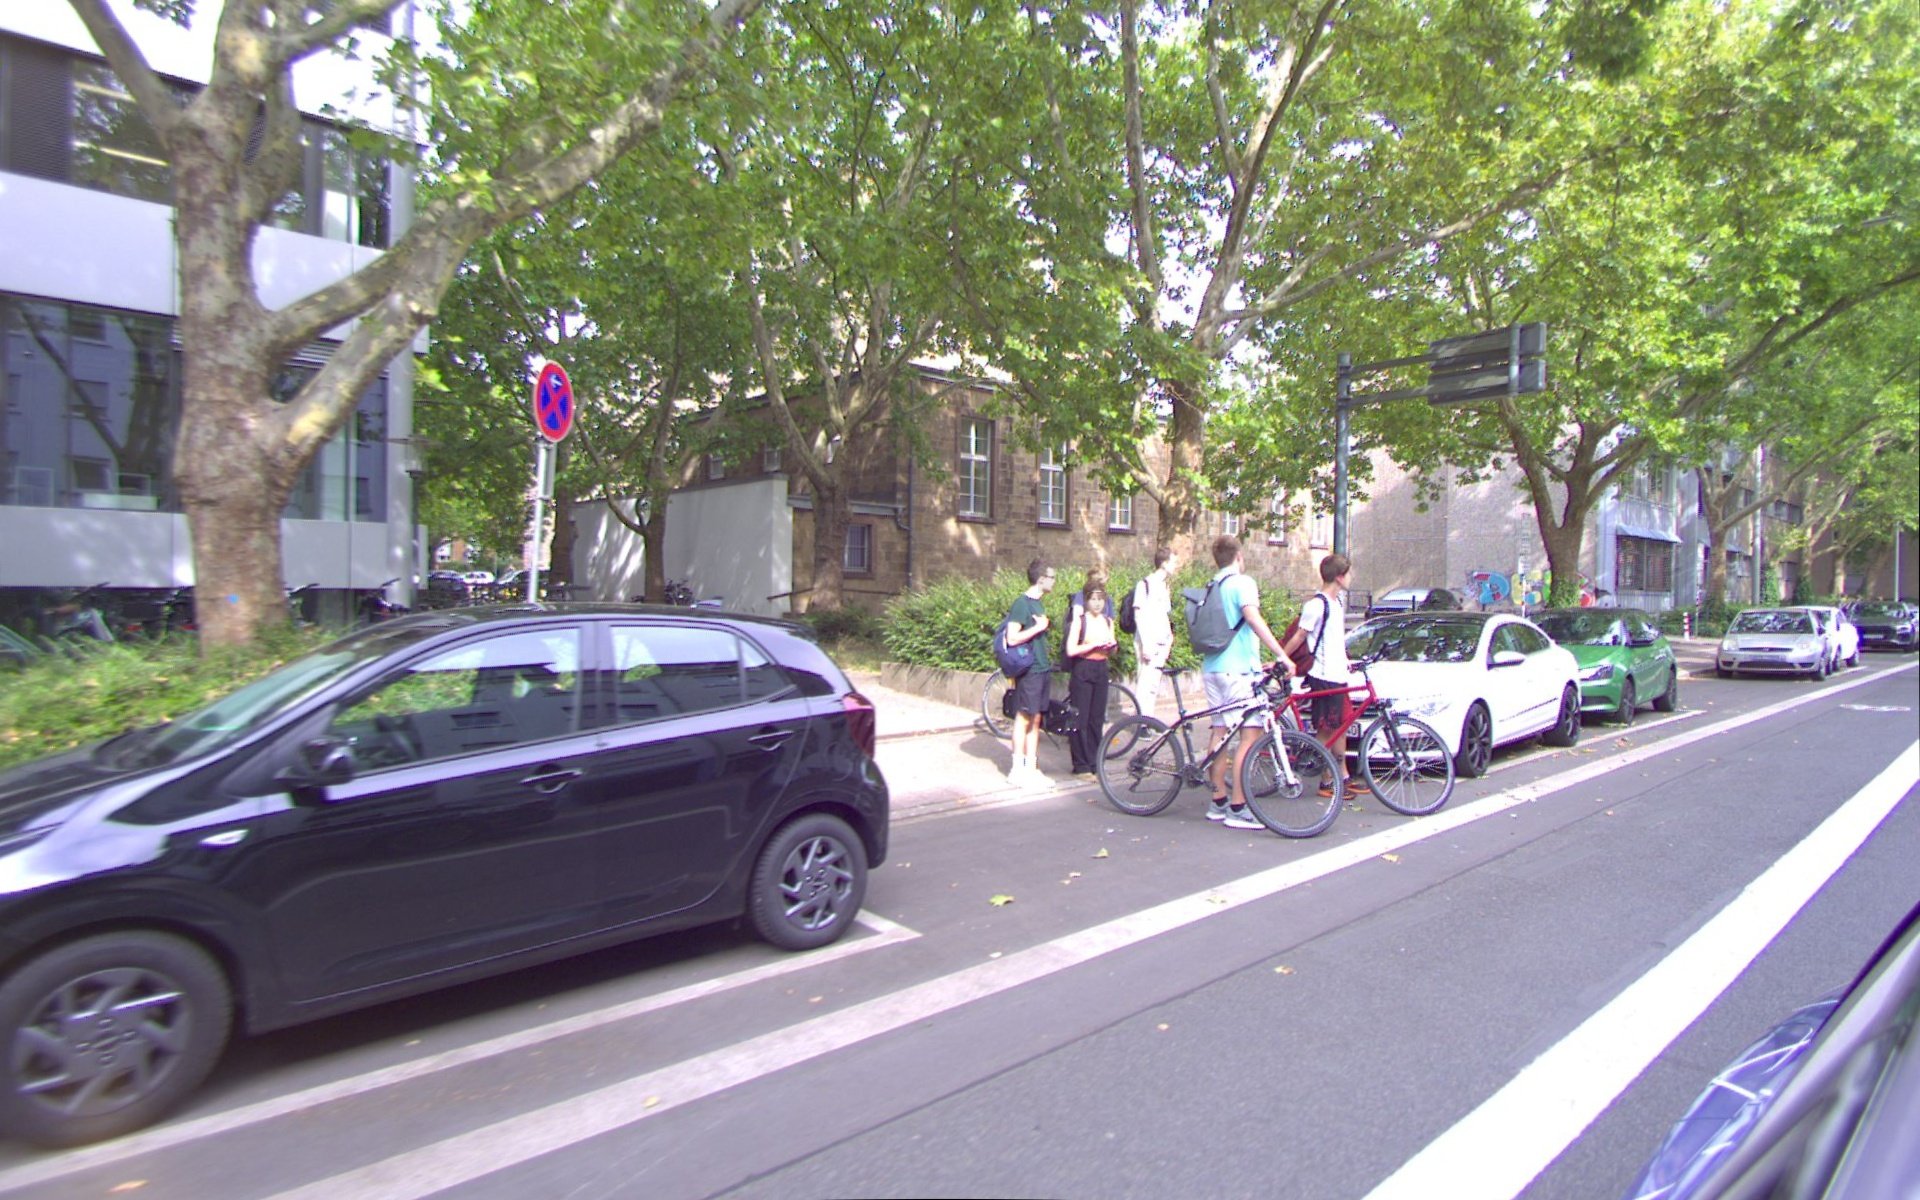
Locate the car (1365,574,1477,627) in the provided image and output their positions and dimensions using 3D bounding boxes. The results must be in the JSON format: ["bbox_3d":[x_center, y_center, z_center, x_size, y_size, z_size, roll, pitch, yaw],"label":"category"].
[{"bbox_3d":[14.364,0.028,31.412,4.224,1.468,1.671,3,-1,-43],"label":"car"}]

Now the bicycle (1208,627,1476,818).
[{"bbox_3d":[2.786,0.837,7.472,1.781,1.233,0.547,0,0,32],"label":"bicycle"}]

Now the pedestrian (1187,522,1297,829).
[{"bbox_3d":[1.934,0.481,6.913,0.474,1.959,0.734,0,-1,38],"label":"pedestrian"}]

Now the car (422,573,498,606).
[{"bbox_3d":[-37.735,-0.781,76.398,4.711,2.438,2.225,0,-1,-44],"label":"car"}]

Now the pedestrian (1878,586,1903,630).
[{"bbox_3d":[39.198,0.321,42.632,0.468,1.806,0.592,0,4,-42],"label":"pedestrian"}]

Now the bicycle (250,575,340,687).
[{"bbox_3d":[-7.379,0.305,11.210,1.538,1.131,0.461,3,2,42],"label":"bicycle"}]

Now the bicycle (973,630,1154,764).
[{"bbox_3d":[0.965,0.885,9.751,1.763,1.146,0.456,0,0,38],"label":"bicycle"}]

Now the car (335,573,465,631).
[{"bbox_3d":[-24.954,0.093,45.221,4.711,2.438,2.225,0,-1,-44],"label":"car"}]

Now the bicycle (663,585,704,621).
[{"bbox_3d":[-7.391,0.065,26.976,0.499,0.889,1.625,-2,2,-36],"label":"bicycle"}]

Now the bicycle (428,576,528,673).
[{"bbox_3d":[-6.233,0.285,13.056,1.674,1.131,0.595,3,2,43],"label":"bicycle"}]

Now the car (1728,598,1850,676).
[{"bbox_3d":[17.251,0.713,21.002,1.643,1.465,3.820,-1,-1,44],"label":"car"}]

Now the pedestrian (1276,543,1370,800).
[{"bbox_3d":[2.811,0.515,7.814,0.518,1.869,0.735,0,-1,34],"label":"pedestrian"}]

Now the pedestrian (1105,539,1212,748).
[{"bbox_3d":[2.025,0.417,10.360,0.737,2.023,0.794,0,-1,-41],"label":"pedestrian"}]

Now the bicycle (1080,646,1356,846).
[{"bbox_3d":[1.685,0.904,6.792,1.731,1.119,0.544,0,0,39],"label":"bicycle"}]

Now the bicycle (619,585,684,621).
[{"bbox_3d":[-8.394,0.073,27.572,1.594,0.889,0.478,-2,2,-35],"label":"bicycle"}]

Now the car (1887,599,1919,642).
[{"bbox_3d":[34.697,0.705,36.299,4.493,1.451,1.642,0,-1,-41],"label":"car"}]

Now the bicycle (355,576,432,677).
[{"bbox_3d":[-6.884,0.292,12.270,0.461,1.131,1.447,0,2,-43],"label":"bicycle"}]

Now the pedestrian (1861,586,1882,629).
[{"bbox_3d":[38.824,0.303,43.109,0.518,1.806,0.502,0,4,-42],"label":"pedestrian"}]

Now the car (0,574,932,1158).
[{"bbox_3d":[-1.979,0.694,4.122,3.596,1.521,1.530,0,-1,-41],"label":"car"}]

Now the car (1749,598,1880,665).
[{"bbox_3d":[20.479,0.697,24.196,4.144,1.465,1.757,0,-1,-41],"label":"car"}]

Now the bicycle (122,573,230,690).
[{"bbox_3d":[-8.253,0.300,10.641,1.374,1.131,0.505,2,1,35],"label":"bicycle"}]

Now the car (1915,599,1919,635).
[{"bbox_3d":[41.891,0.702,42.927,4.363,1.524,1.601,0,-1,-41],"label":"car"}]

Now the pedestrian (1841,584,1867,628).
[{"bbox_3d":[38.687,0.252,43.811,0.634,1.855,0.643,0,4,-42],"label":"pedestrian"}]

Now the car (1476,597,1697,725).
[{"bbox_3d":[8.442,0.712,13.522,3.742,1.468,1.588,0,-1,-44],"label":"car"}]

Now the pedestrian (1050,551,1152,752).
[{"bbox_3d":[1.382,0.482,9.959,0.691,1.878,0.722,0,-1,-41],"label":"pedestrian"}]

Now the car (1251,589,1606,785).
[{"bbox_3d":[4.841,0.700,10.112,4.468,1.535,1.681,0,-1,-44],"label":"car"}]

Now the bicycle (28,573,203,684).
[{"bbox_3d":[-9.159,0.286,11.010,0.491,1.131,1.415,2,2,43],"label":"bicycle"}]

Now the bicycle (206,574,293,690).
[{"bbox_3d":[-7.556,0.311,10.745,1.377,1.131,0.461,3,2,42],"label":"bicycle"}]

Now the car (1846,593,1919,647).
[{"bbox_3d":[30.355,0.618,32.861,4.405,1.642,1.923,0,-1,-43],"label":"car"}]

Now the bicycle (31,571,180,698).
[{"bbox_3d":[-8.490,0.302,10.042,1.686,1.131,0.616,2,1,31],"label":"bicycle"}]

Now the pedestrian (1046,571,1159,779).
[{"bbox_3d":[1.218,0.608,8.667,0.643,1.679,0.722,0,-1,-41],"label":"pedestrian"}]

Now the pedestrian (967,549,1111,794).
[{"bbox_3d":[0.632,0.533,8.177,0.766,1.840,0.872,0,-1,-41],"label":"pedestrian"}]
